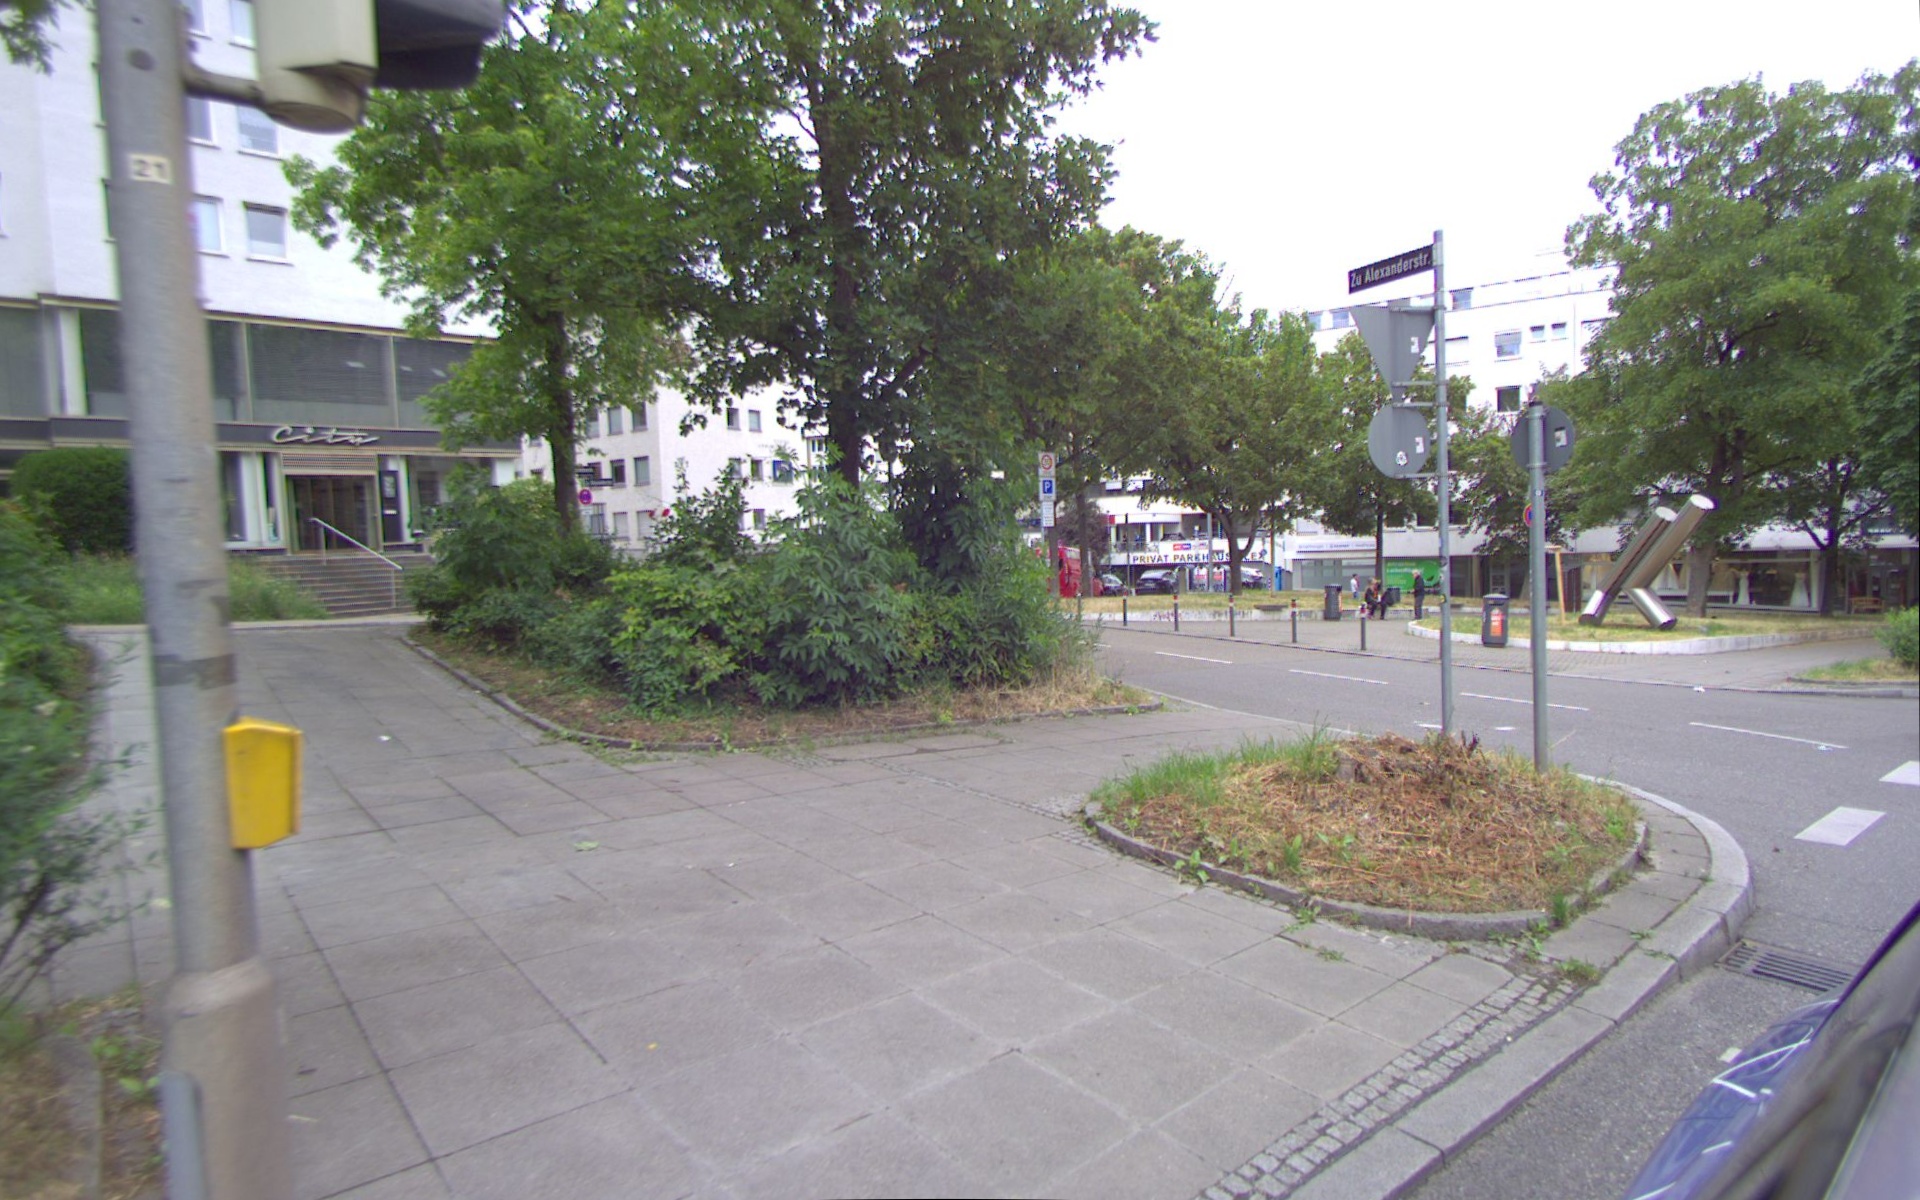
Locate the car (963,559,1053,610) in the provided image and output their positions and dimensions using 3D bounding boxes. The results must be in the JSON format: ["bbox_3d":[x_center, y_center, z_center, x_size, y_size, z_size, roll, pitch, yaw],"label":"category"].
[{"bbox_3d":[1.661,-0.540,33.721,1.731,1.584,3.685,1,2,25],"label":"car"}]

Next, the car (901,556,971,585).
[{"bbox_3d":[-1.757,-2.107,72.442,4.765,1.969,2.195,2,2,42],"label":"car"}]

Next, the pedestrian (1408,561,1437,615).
[{"bbox_3d":[14.178,-0.371,31.036,0.720,1.622,0.785,1,1,29],"label":"pedestrian"}]

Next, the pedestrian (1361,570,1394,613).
[{"bbox_3d":[12.924,-0.282,31.364,0.671,1.308,0.657,0,1,-29],"label":"pedestrian"}]

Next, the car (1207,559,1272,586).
[{"bbox_3d":[19.324,-1.884,69.968,3.982,1.708,1.665,-2,0,41],"label":"car"}]

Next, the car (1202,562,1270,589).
[{"bbox_3d":[18.491,-1.640,67.854,3.987,1.738,1.969,2,2,43],"label":"car"}]

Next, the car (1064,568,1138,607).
[{"bbox_3d":[6.198,-0.577,43.996,1.980,1.584,4.377,1,2,25],"label":"car"}]

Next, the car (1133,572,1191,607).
[{"bbox_3d":[10.954,-0.597,54.706,1.980,1.762,4.743,1,2,25],"label":"car"}]

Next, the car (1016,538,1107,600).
[{"bbox_3d":[4.004,-1.186,39.179,2.104,2.240,4.855,1,2,23],"label":"car"}]

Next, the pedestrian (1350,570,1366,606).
[{"bbox_3d":[17.516,-0.539,44.570,0.520,1.552,0.672,1,1,13],"label":"pedestrian"}]

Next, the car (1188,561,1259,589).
[{"bbox_3d":[16.962,-1.658,65.280,3.987,1.738,1.969,2,2,43],"label":"car"}]
